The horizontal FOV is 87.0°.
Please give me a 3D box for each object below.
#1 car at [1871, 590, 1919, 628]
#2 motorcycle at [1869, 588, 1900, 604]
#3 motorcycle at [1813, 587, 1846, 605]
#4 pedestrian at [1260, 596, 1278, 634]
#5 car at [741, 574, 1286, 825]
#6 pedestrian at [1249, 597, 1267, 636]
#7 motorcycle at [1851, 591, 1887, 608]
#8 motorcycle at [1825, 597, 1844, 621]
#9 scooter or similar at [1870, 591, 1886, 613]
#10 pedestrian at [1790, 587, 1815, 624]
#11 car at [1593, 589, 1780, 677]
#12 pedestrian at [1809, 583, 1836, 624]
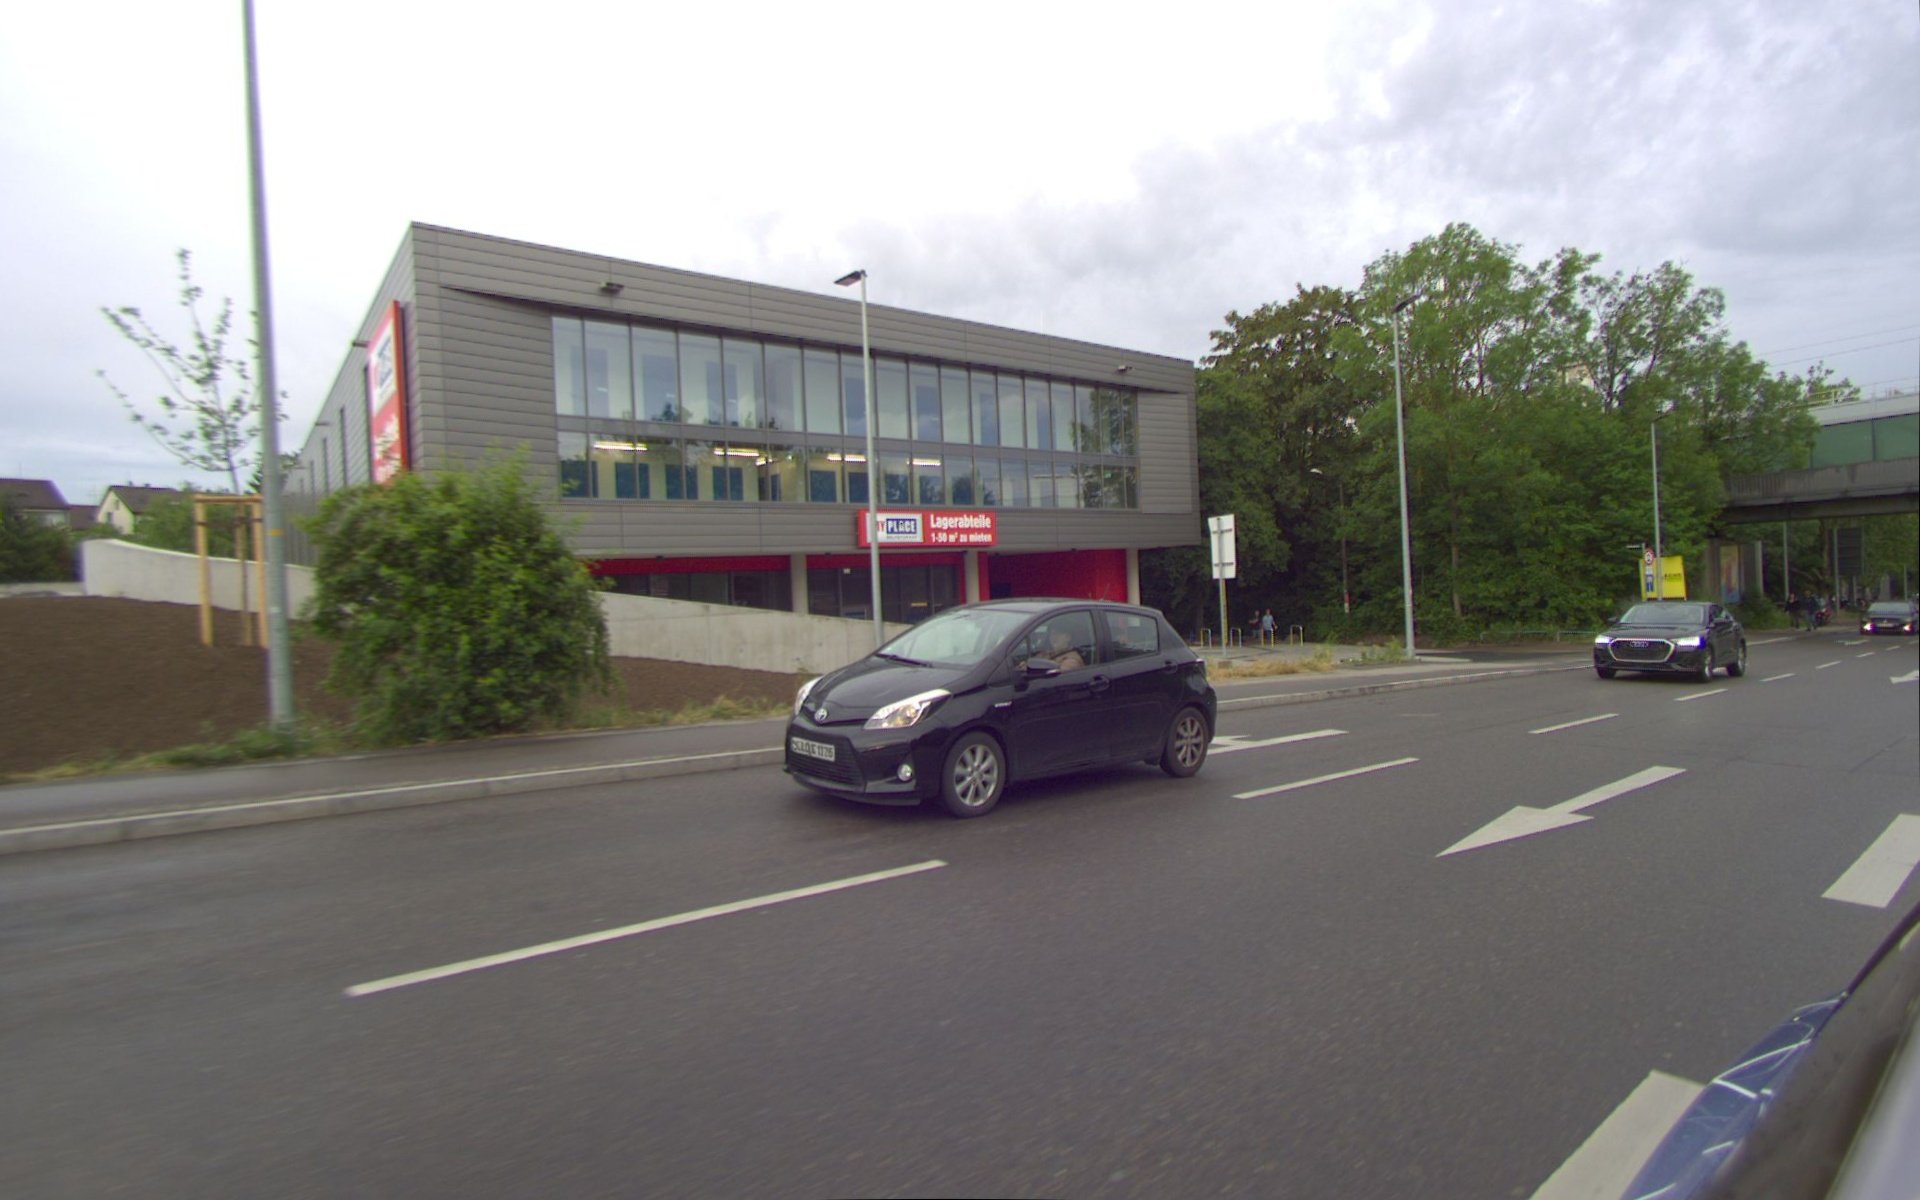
[{"bbox_3d":[40.203,0.356,42.919,4.439,1.448,1.747,-2,0,-41],"label":"car"},{"bbox_3d":[72.018,-0.309,78.811,0.484,1.165,1.659,-2,-1,-32],"label":"motorcycle"},{"bbox_3d":[70.347,-0.320,81.918,0.498,1.382,1.928,-2,-2,-45],"label":"motorcycle"},{"bbox_3d":[15.124,0.724,49.492,0.588,1.839,0.587,-1,-1,-12],"label":"pedestrian"},{"bbox_3d":[0.666,0.603,8.435,4.560,1.488,1.747,-2,0,-41],"label":"car"},{"bbox_3d":[14.521,0.803,49.323,0.612,1.839,0.587,-1,-1,-12],"label":"pedestrian"},{"bbox_3d":[64.800,-0.038,72.149,1.842,1.206,0.515,-1,0,35],"label":"motorcycle"},{"bbox_3d":[44.014,0.437,50.915,1.787,1.151,0.470,-1,0,-41],"label":"motorcycle"},{"bbox_3d":[56.420,0.111,62.163,1.281,1.315,0.313,-2,0,-29],"label":"scooter or similar"},{"bbox_3d":[36.516,0.235,43.840,0.567,1.616,0.653,-1,0,-29],"label":"pedestrian"},{"bbox_3d":[14.853,0.602,20.549,5.510,1.565,1.818,0,-1,-41],"label":"car"},{"bbox_3d":[36.792,0.138,43.189,0.874,1.743,0.613,-1,0,-31],"label":"pedestrian"}]
